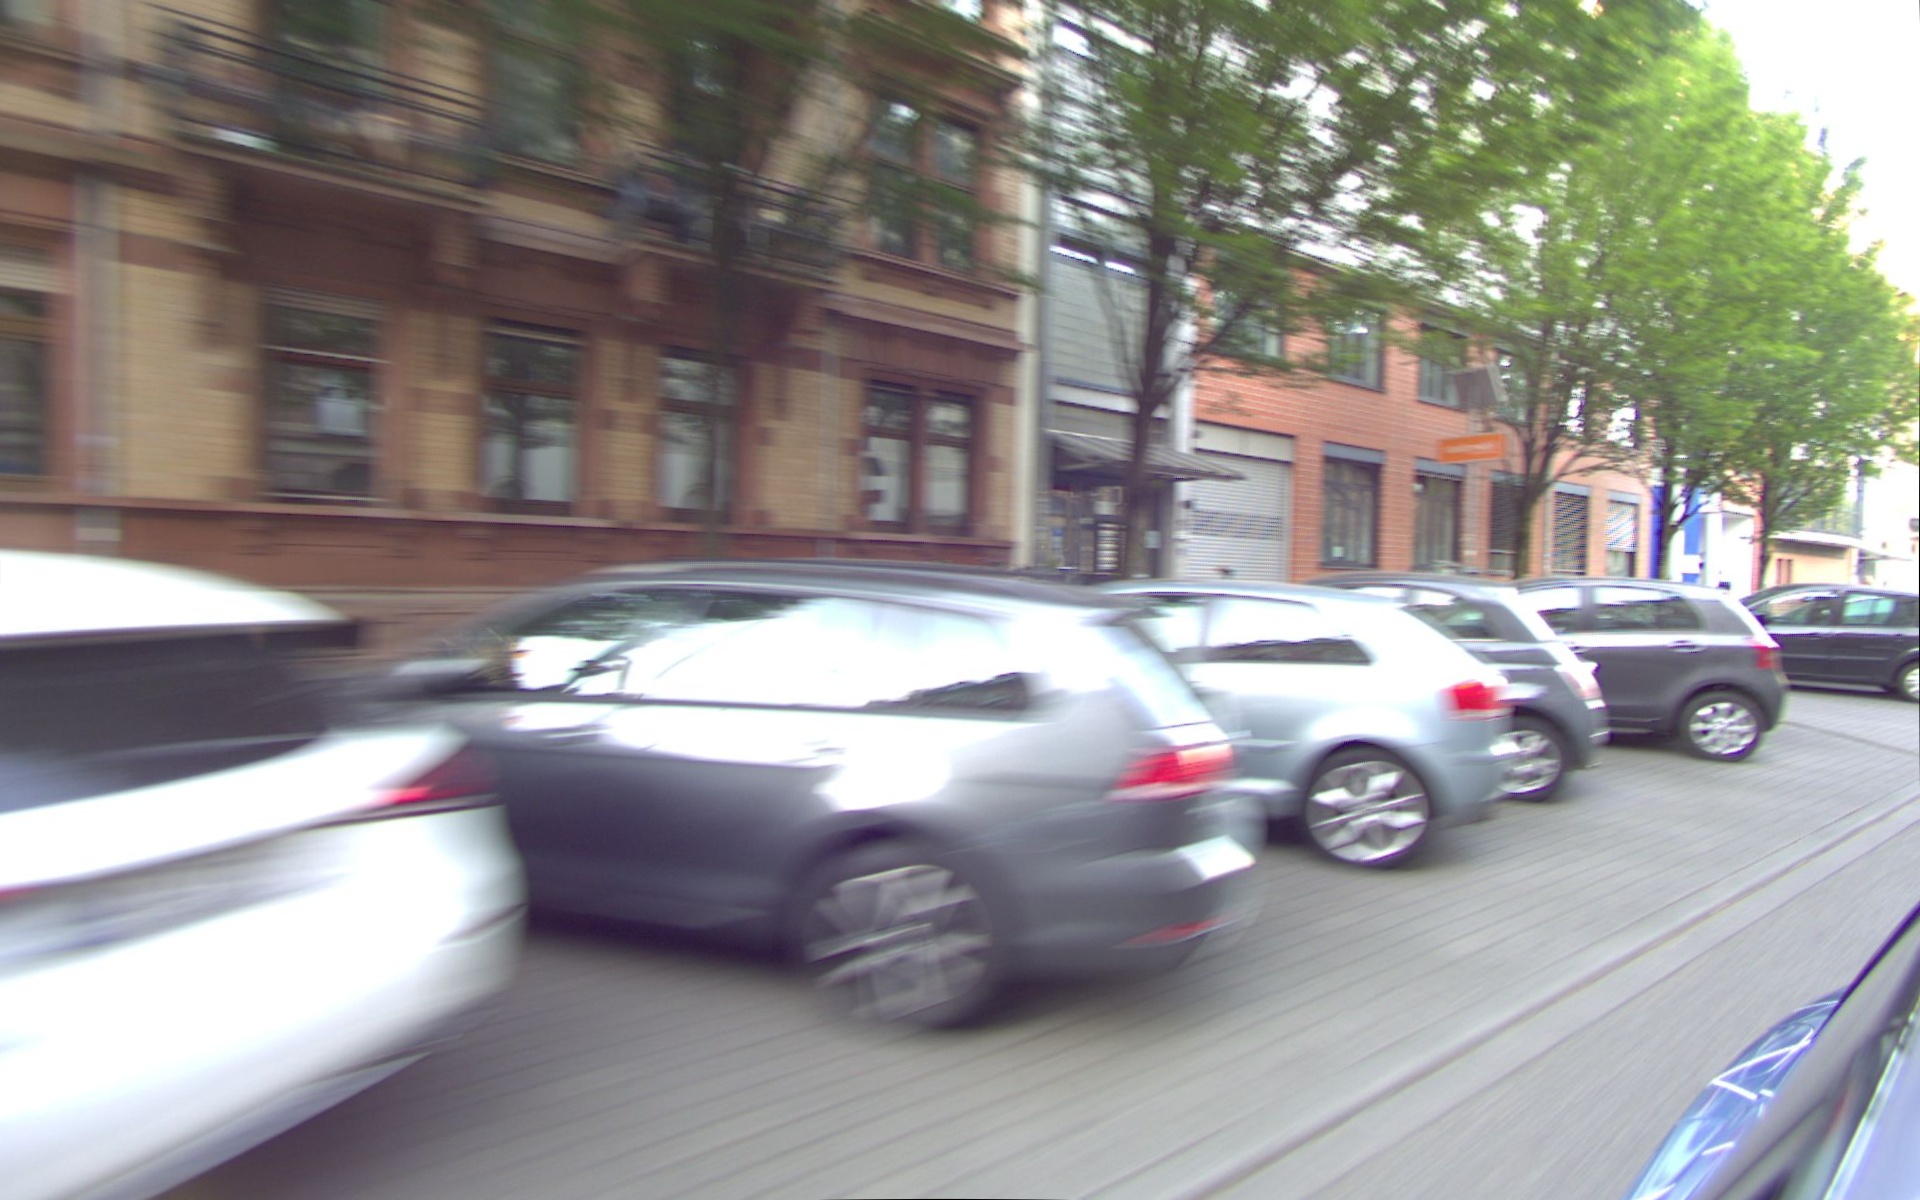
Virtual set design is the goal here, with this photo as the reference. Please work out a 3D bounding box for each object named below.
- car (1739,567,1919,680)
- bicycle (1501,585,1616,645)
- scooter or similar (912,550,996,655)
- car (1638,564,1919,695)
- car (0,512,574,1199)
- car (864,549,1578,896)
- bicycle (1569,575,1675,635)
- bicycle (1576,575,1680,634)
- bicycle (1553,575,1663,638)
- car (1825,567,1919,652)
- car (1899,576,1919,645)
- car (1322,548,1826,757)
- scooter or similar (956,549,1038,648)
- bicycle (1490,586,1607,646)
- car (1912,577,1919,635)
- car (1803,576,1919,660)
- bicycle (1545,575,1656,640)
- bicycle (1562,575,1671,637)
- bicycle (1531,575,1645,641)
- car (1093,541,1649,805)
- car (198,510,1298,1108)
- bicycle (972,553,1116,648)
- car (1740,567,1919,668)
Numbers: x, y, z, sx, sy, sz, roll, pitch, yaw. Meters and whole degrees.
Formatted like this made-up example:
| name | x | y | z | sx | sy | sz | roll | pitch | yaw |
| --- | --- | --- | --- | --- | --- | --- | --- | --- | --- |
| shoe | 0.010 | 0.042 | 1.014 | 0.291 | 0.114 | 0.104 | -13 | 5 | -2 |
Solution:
| name | x | y | z | sx | sy | sz | roll | pitch | yaw |
| --- | --- | --- | --- | --- | --- | --- | --- | --- | --- |
| car | 15.014 | 0.388 | 16.061 | 3.794 | 1.584 | 1.665 | 4 | 4 | 24 |
| bicycle | 11.508 | 0.269 | 19.497 | 0.537 | 0.937 | 1.768 | -1 | 6 | -43 |
| scooter or similar | -0.076 | 0.030 | 12.823 | 1.046 | 1.297 | 0.330 | 0 | 0 | 1 |
| car | 12.437 | 0.375 | 14.992 | 3.807 | 1.584 | 1.659 | 5 | 5 | 32 |
| car | -3.124 | 0.513 | 2.464 | 3.946 | 1.506 | 1.674 | 4 | 3 | 20 |
| car | 1.444 | 0.498 | 6.145 | 3.591 | 1.437 | 1.818 | 4 | 3 | 22 |
| bicycle | 14.292 | 0.086 | 21.883 | 0.537 | 1.113 | 1.768 | -1 | 6 | -43 |
| bicycle | 14.695 | 0.077 | 22.299 | 0.537 | 1.113 | 1.768 | -1 | 6 | -43 |
| bicycle | 13.431 | 0.115 | 21.017 | 0.537 | 1.113 | 1.768 | -1 | 6 | -43 |
| car | 20.841 | 0.251 | 21.135 | 3.798 | 1.668 | 1.663 | 4 | 4 | 27 |
| car | 23.671 | 0.372 | 22.389 | 3.790 | 1.536 | 1.667 | 4 | 4 | 21 |
| car | 5.493 | 0.367 | 9.650 | 3.755 | 1.535 | 1.639 | 4 | 3 | 21 |
| scooter or similar | 0.488 | -0.030 | 13.472 | 1.044 | 1.297 | 0.330 | 0 | 0 | -7 |
| bicycle | 11.080 | 0.278 | 19.100 | 0.537 | 0.937 | 1.768 | -1 | 6 | -43 |
| car | 27.265 | 0.321 | 25.883 | 3.796 | 1.536 | 1.664 | 4 | 4 | 26 |
| car | 18.829 | 0.392 | 19.296 | 3.794 | 1.447 | 1.665 | 4 | 4 | 24 |
| bicycle | 13.014 | 0.124 | 20.605 | 0.537 | 1.113 | 1.768 | -1 | 6 | -43 |
| bicycle | 13.891 | 0.098 | 21.456 | 0.537 | 1.113 | 1.768 | -1 | 6 | -43 |
| bicycle | 12.540 | 0.139 | 20.249 | 0.537 | 1.113 | 1.768 | -1 | 6 | -43 |
| car | 3.036 | 0.394 | 7.927 | 3.596 | 1.535 | 1.610 | 4 | 3 | 26 |
| car | -0.810 | 0.487 | 4.264 | 4.116 | 1.506 | 1.821 | 4 | 3 | 18 |
| bicycle | 1.170 | -0.023 | 14.508 | 2.012 | 1.179 | 0.573 | 5 | 4 | 36 |
| car | 16.652 | 0.321 | 18.163 | 3.794 | 1.584 | 1.665 | 4 | 4 | 24 |
